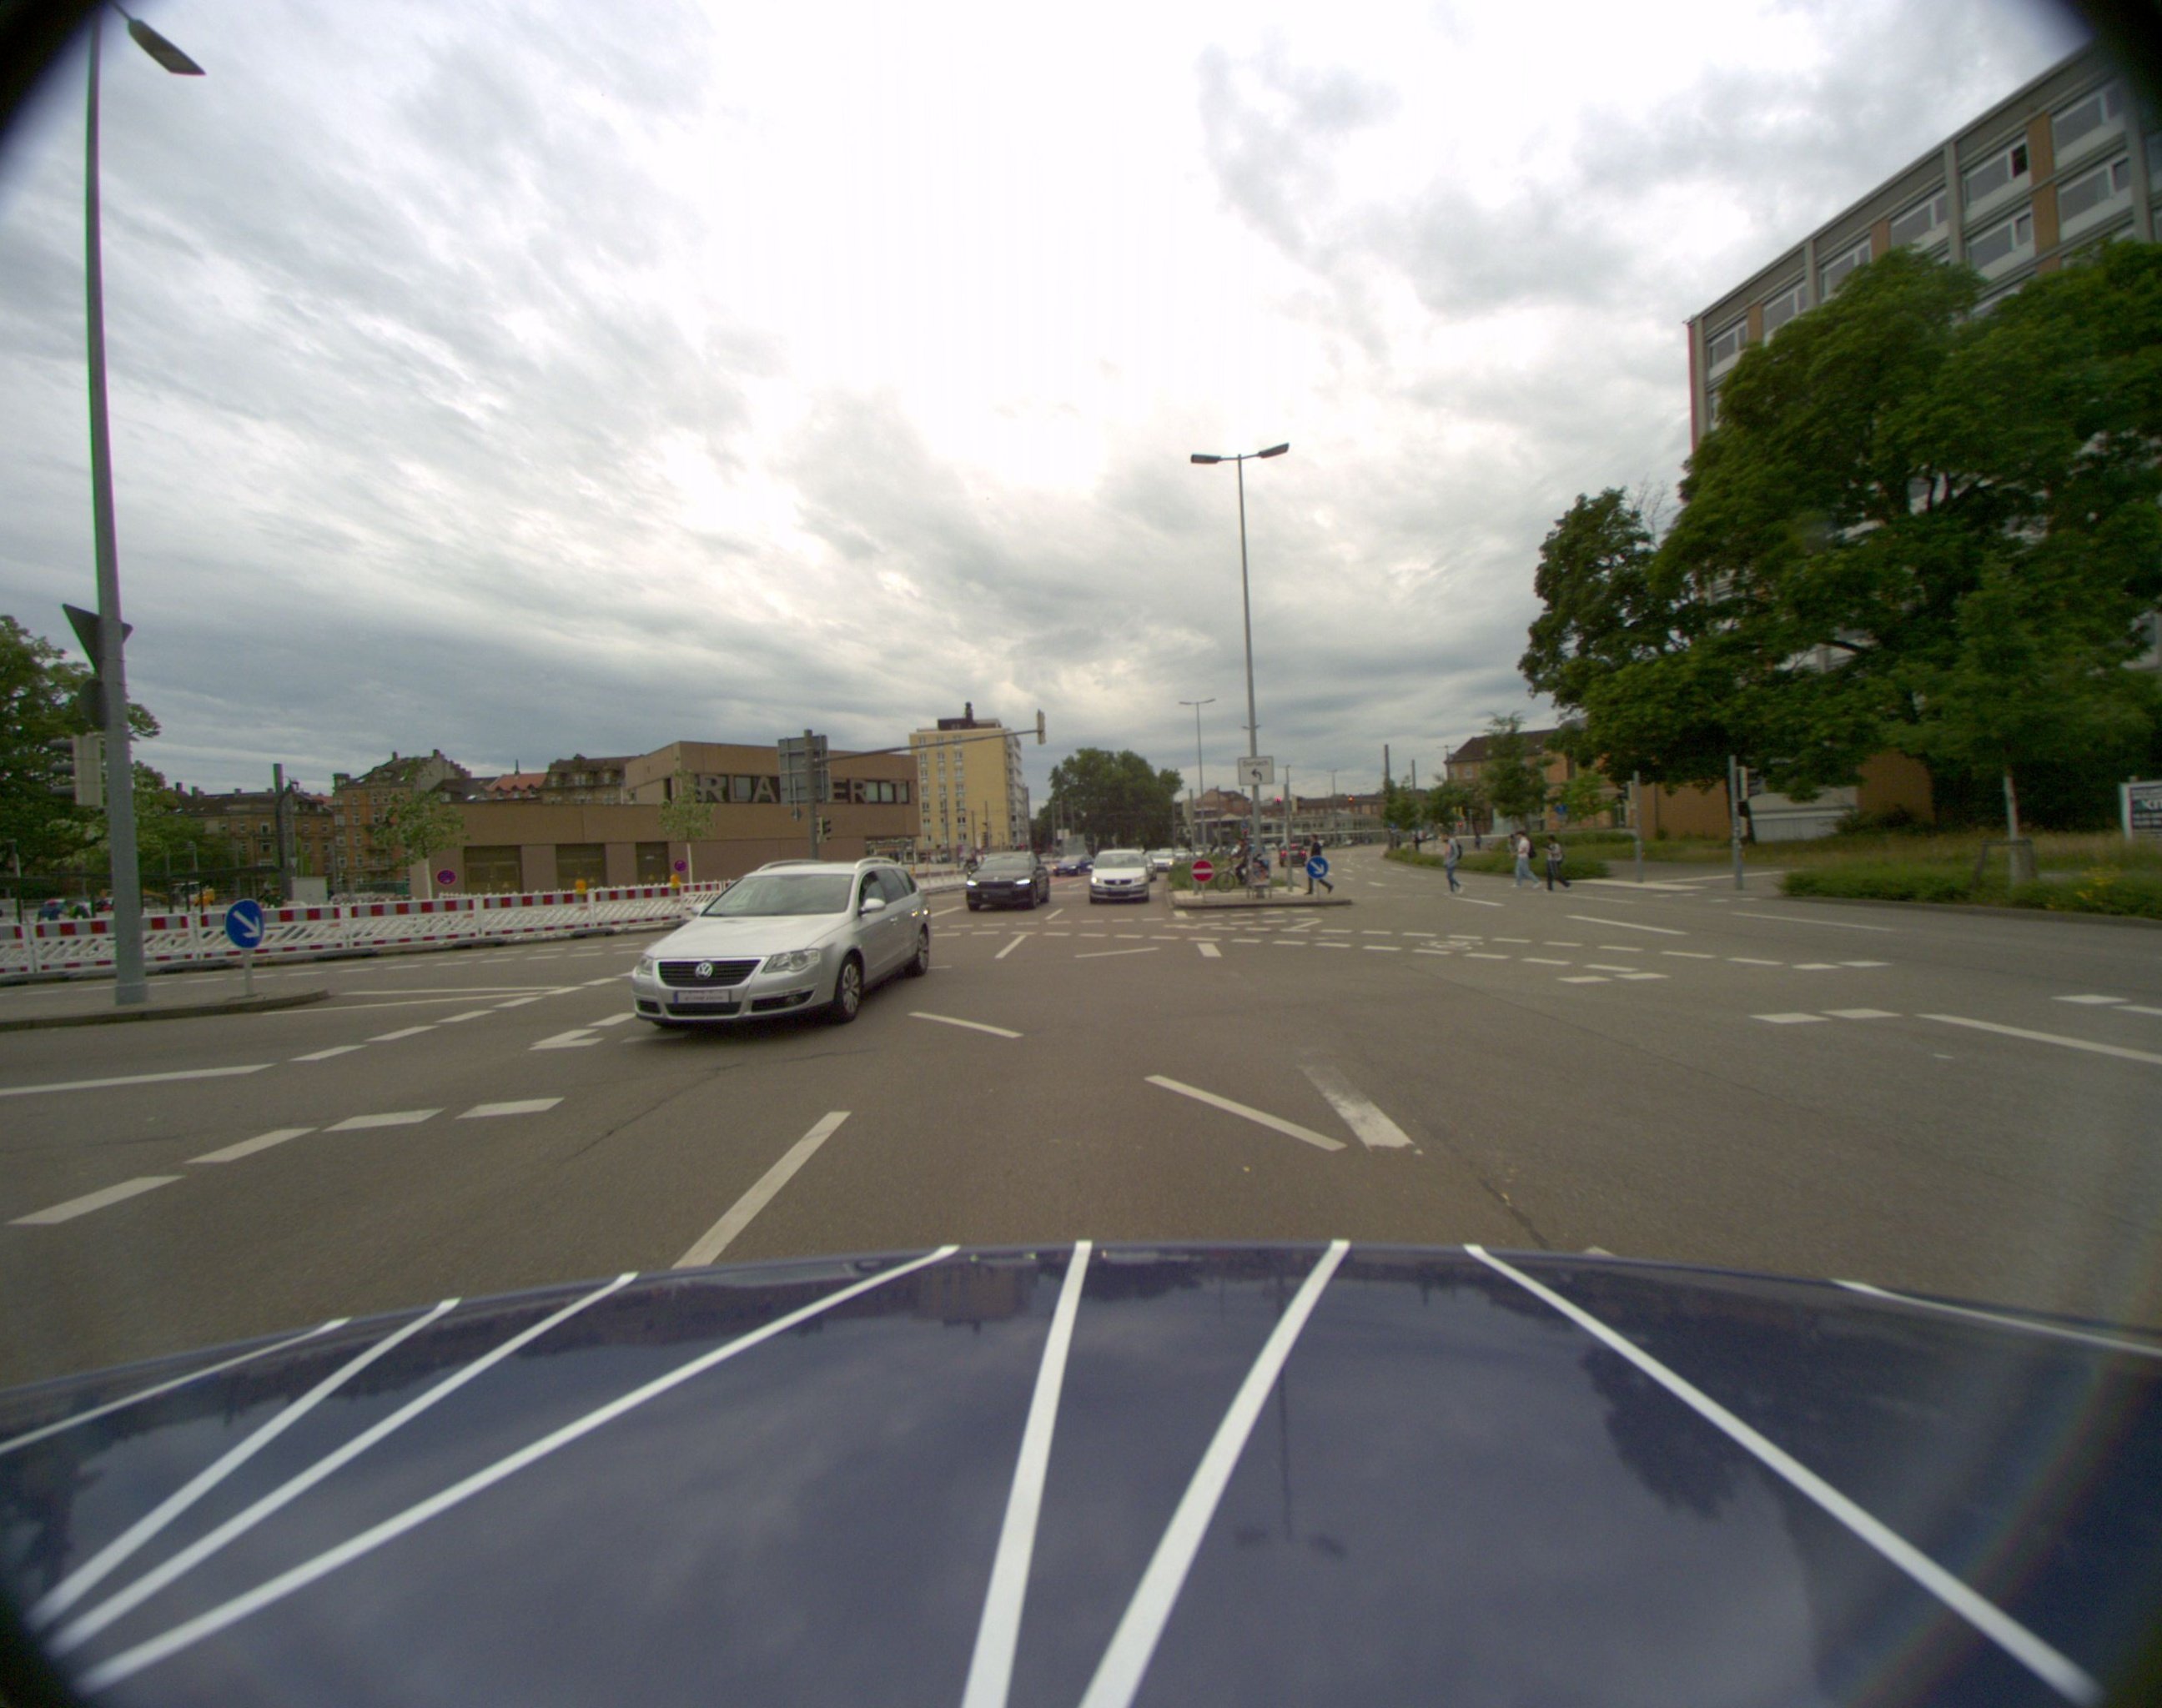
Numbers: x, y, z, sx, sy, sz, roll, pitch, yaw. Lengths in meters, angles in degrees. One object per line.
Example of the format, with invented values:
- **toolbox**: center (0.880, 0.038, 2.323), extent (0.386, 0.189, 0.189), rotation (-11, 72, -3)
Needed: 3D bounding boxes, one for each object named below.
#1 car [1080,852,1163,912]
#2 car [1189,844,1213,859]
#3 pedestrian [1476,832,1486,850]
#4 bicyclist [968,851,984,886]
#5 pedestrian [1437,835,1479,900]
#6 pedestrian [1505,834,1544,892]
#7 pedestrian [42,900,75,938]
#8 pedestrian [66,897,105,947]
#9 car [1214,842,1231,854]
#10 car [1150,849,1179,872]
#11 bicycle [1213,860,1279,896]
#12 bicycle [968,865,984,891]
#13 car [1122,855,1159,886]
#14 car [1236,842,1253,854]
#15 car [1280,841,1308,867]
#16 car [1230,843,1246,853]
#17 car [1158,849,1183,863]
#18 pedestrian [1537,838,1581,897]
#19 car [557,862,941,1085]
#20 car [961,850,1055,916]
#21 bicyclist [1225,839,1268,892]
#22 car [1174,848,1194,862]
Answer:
- **car**: center (1.157, 0.792, 23.576), extent (1.735, 1.594, 4.102), rotation (-4, 1, -8)
- **car**: center (15.751, -0.353, 99.897), extent (1.995, 1.805, 4.007), rotation (-1, 0, 26)
- **pedestrian**: center (36.562, -1.198, 69.479), extent (0.653, 1.611, 0.471), rotation (-2, 0, 1)
- **bicyclist**: center (-4.920, 0.676, 35.465), extent (0.694, 1.626, 0.883), rotation (-2, 0, -9)
- **pedestrian**: center (10.626, 0.382, 21.451), extent (0.918, 1.794, 0.541), rotation (-2, 0, 9)
- **pedestrian**: center (13.971, 0.276, 23.943), extent (0.769, 1.794, 0.739), rotation (-2, 1, -29)
- **pedestrian**: center (-34.180, 2.177, 25.404), extent (0.478, 1.216, 0.585), rotation (-1, 1, 31)
- **pedestrian**: center (-34.244, 2.331, 26.140), extent (0.498, 1.653, 0.624), rotation (-1, 0, 9)
- **car**: center (20.628, -0.861, 110.597), extent (1.607, 1.586, 3.765), rotation (-1, 0, 24)
- **car**: center (6.197, 0.486, 55.922), extent (1.784, 1.454, 3.873), rotation (-4, 1, 10)
- **bicycle**: center (5.586, 0.801, 25.762), extent (2.005, 1.136, 0.806), rotation (-2, 0, -3)
- **bicycle**: center (-4.925, 1.113, 35.594), extent (0.694, 1.123, 1.866), rotation (-2, 0, -8)
- **car**: center (3.263, 0.834, 41.112), extent (1.725, 1.406, 4.247), rotation (-4, 0, 7)
- **car**: center (23.136, -0.879, 107.463), extent (1.607, 1.586, 3.765), rotation (-1, 0, 24)
- **car**: center (15.365, -0.020, 54.795), extent (1.813, 1.657, 3.953), rotation (-2, 1, 15)
- **car**: center (24.488, -0.952, 118.722), extent (1.607, 1.586, 3.765), rotation (-1, 0, 24)
- **car**: center (10.042, 0.258, 84.797), extent (1.817, 1.466, 4.038), rotation (-2, 0, 20)
- **pedestrian**: center (13.812, 0.384, 21.979), extent (0.778, 1.657, 0.706), rotation (-2, 0, -15)
- **car**: center (-2.901, 0.921, 7.936), extent (1.829, 1.541, 4.527), rotation (-2, 0, 2)
- **car**: center (-2.018, 0.759, 22.305), extent (1.911, 1.615, 4.491), rotation (-2, 1, 5)
- **bicyclist**: center (5.594, 0.376, 25.749), extent (1.192, 1.725, 0.806), rotation (-2, 0, -3)
- **car**: center (12.614, 0.081, 92.849), extent (1.802, 1.586, 3.764), rotation (-2, 0, 18)
